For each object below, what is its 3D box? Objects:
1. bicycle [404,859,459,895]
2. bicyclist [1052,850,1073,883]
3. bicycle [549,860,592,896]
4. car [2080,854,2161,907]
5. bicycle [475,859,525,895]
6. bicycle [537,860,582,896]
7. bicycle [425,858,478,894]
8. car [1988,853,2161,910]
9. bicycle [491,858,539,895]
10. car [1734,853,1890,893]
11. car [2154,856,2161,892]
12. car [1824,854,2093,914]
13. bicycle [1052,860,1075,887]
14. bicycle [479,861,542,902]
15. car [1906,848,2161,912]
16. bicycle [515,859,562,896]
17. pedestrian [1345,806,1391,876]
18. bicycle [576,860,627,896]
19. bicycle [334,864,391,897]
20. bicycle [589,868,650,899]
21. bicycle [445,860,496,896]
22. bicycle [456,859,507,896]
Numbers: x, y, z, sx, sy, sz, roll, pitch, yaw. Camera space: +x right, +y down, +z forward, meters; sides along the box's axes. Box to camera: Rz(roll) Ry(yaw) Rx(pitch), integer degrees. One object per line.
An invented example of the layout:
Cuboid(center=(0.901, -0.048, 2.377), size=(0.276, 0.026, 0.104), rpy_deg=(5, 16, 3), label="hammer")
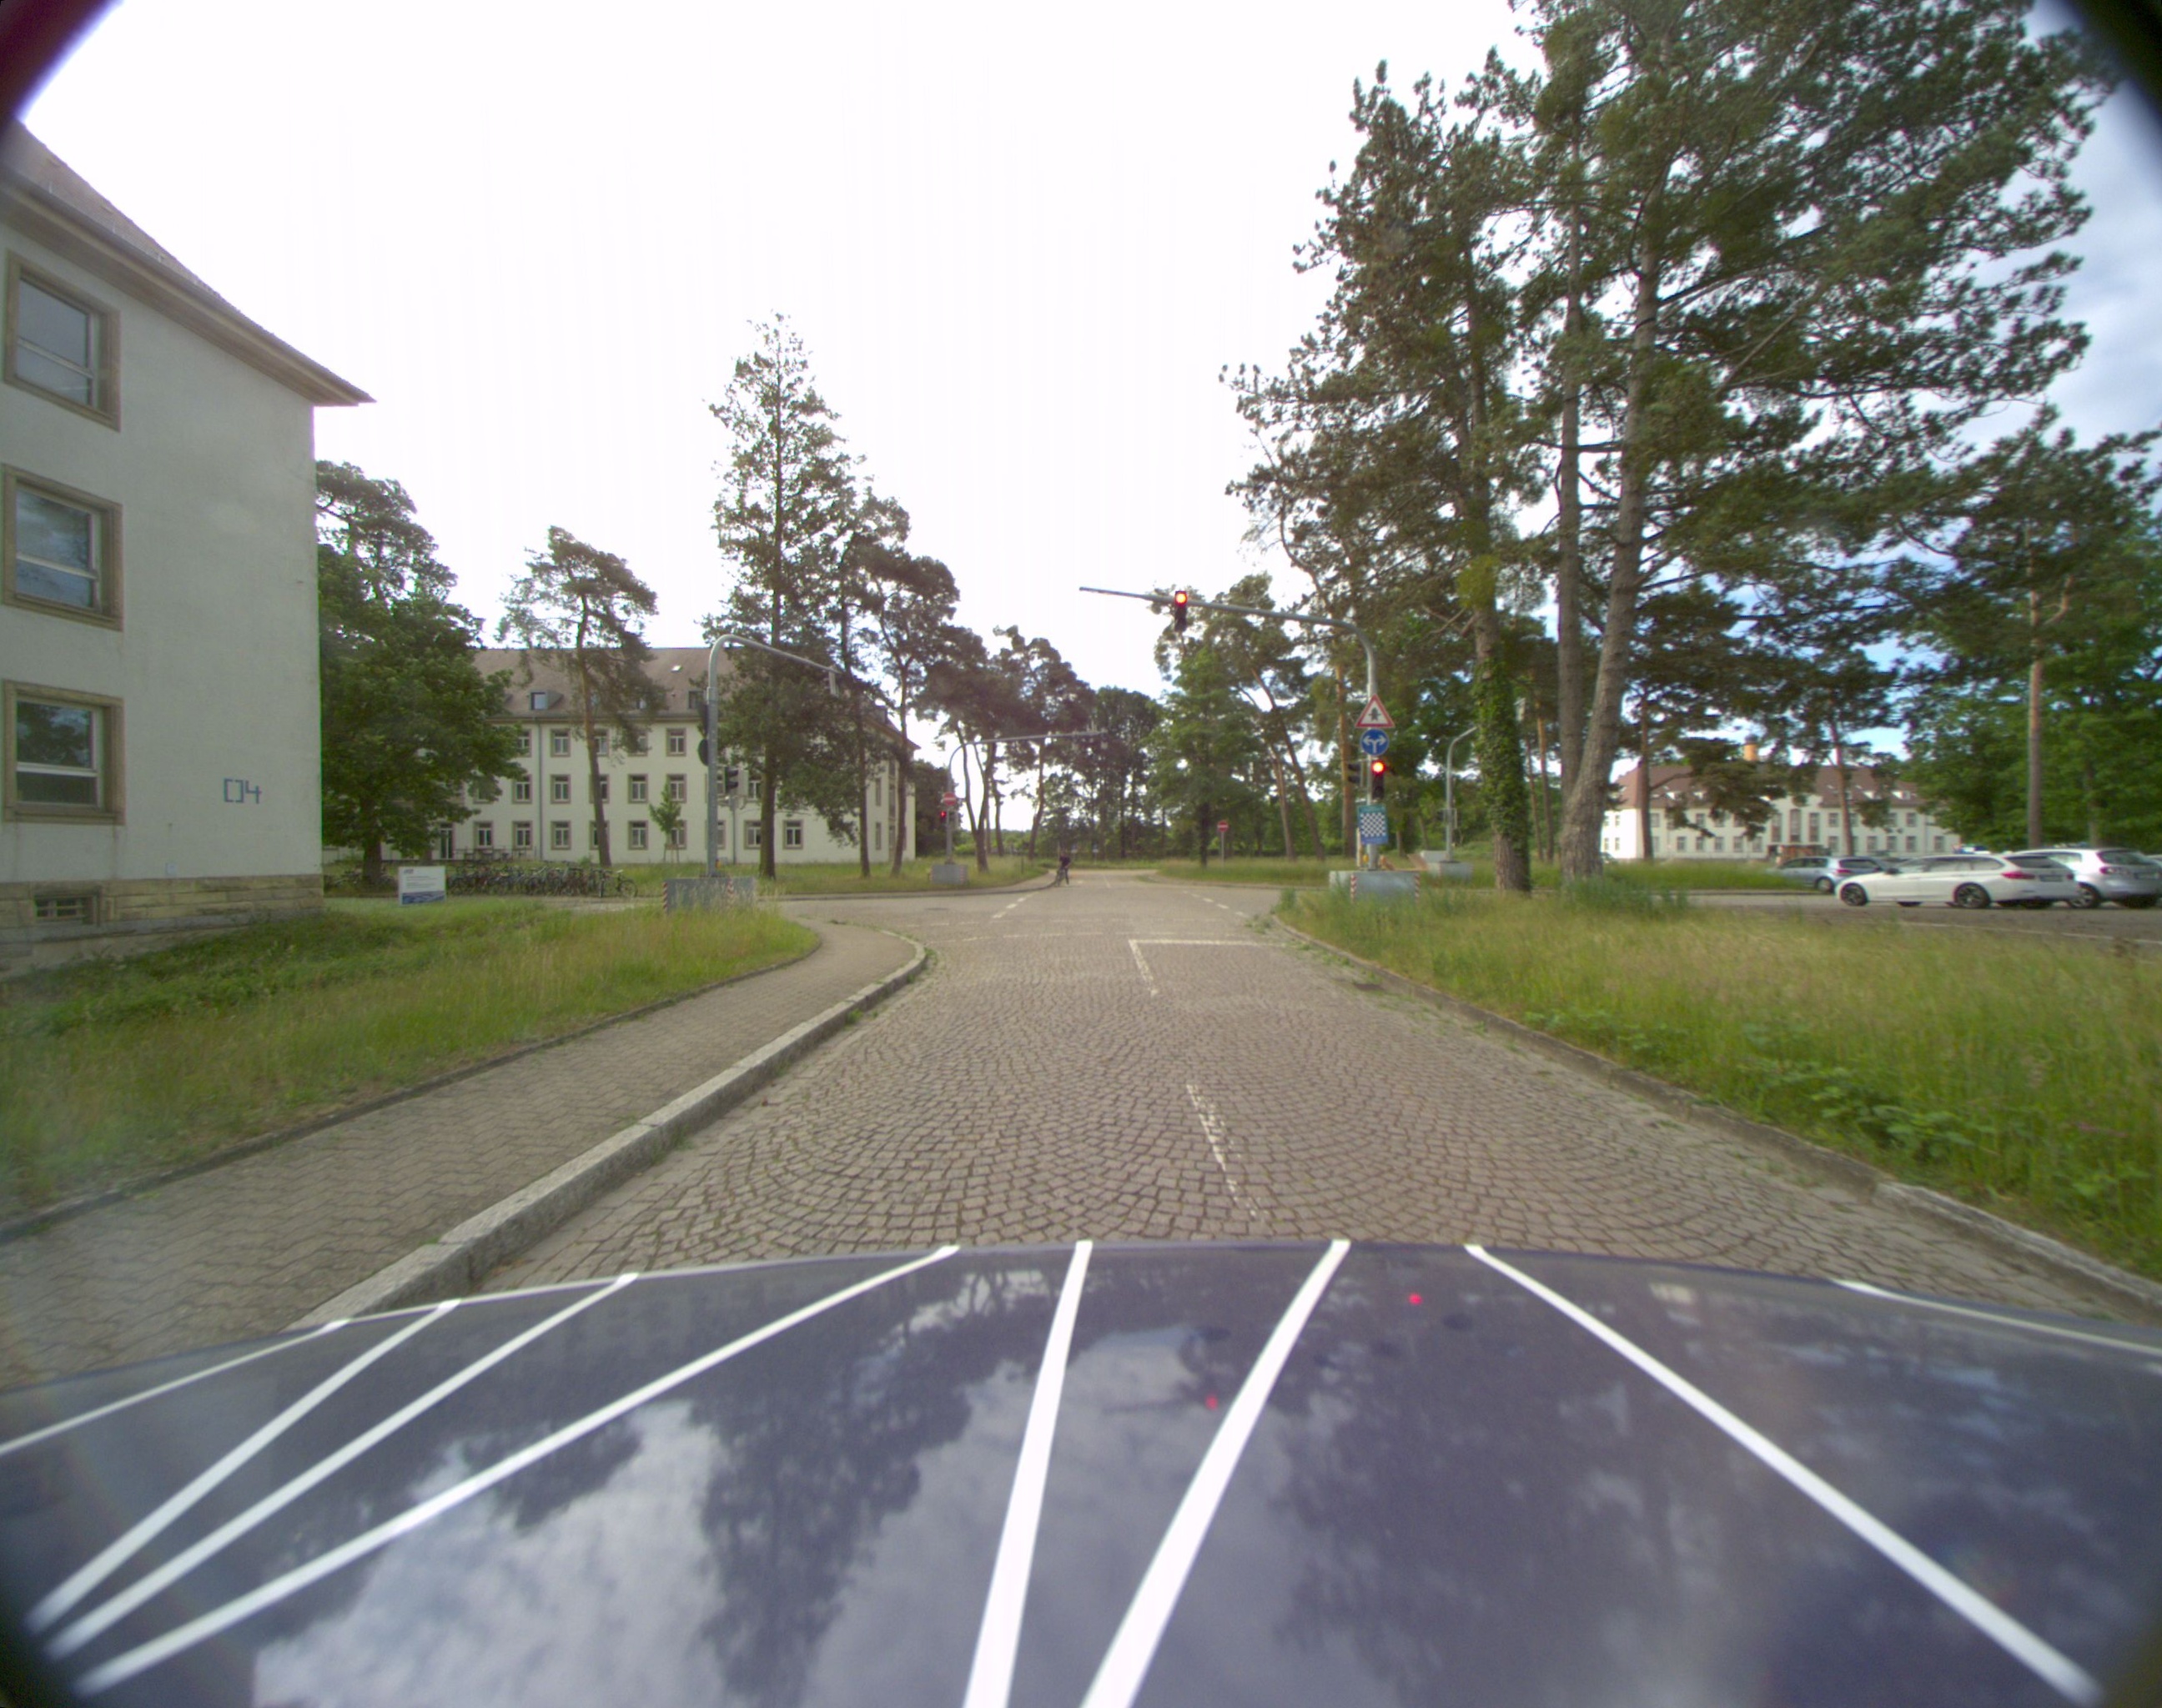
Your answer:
Cuboid(center=(-24.679, 0.846, 28.913), size=(0.572, 1.324, 1.837), rpy_deg=(0, 1, -4), label="bicycle")
Cuboid(center=(-0.920, 0.606, 38.327), size=(0.963, 1.626, 0.918), rpy_deg=(0, 1, 3), label="bicyclist")
Cuboid(center=(-19.422, 0.885, 28.956), size=(0.482, 1.324, 1.837), rpy_deg=(0, 1, -4), label="bicycle")
Cuboid(center=(31.397, 0.741, 21.175), size=(1.736, 1.512, 4.115), rpy_deg=(0, -1, 1), label="car")
Cuboid(center=(-22.041, 0.853, 28.850), size=(0.572, 1.324, 1.837), rpy_deg=(0, 1, -4), label="bicycle")
Cuboid(center=(-19.855, 0.897, 28.972), size=(0.572, 1.324, 1.837), rpy_deg=(0, 1, -4), label="bicycle")
Cuboid(center=(-23.968, 0.820, 28.975), size=(0.572, 1.324, 1.837), rpy_deg=(0, 1, -4), label="bicycle")
Cuboid(center=(28.645, 0.738, 20.938), size=(1.839, 1.460, 4.586), rpy_deg=(0, -1, 1), label="car")
Cuboid(center=(-21.476, 0.837, 28.871), size=(0.572, 1.324, 1.837), rpy_deg=(0, 1, -4), label="bicycle")
Cuboid(center=(30.543, 0.805, 31.968), size=(1.841, 1.538, 4.583), rpy_deg=(0, -1, -7), label="car")
Cuboid(center=(49.043, 0.839, 31.769), size=(1.840, 1.564, 4.585), rpy_deg=(0, -1, -2), label="car")
Cuboid(center=(23.380, 0.779, 20.603), size=(1.840, 1.441, 4.655), rpy_deg=(0, -1, -2), label="car")
Cuboid(center=(-0.854, 0.962, 38.347), size=(0.963, 1.268, 2.164), rpy_deg=(0, 0, 4), label="bicycle")
Cuboid(center=(-19.367, 0.922, 25.845), size=(0.572, 1.324, 1.839), rpy_deg=(0, 1, 9), label="bicycle")
Cuboid(center=(25.993, 0.687, 20.755), size=(1.840, 1.568, 4.585), rpy_deg=(0, -1, -2), label="car")
Cuboid(center=(-20.621, 0.879, 28.917), size=(0.572, 1.324, 1.837), rpy_deg=(0, 1, -4), label="bicycle")
Cuboid(center=(6.366, -0.286, 16.905), size=(0.882, 1.509, 0.822), rpy_deg=(0, 1, 15), label="pedestrian")
Cuboid(center=(-18.296, 0.897, 29.047), size=(0.572, 1.324, 1.839), rpy_deg=(0, 1, 9), label="bicycle")
Cuboid(center=(-27.806, 1.000, 29.454), size=(0.572, 1.180, 1.837), rpy_deg=(0, 0, -5), label="bicycle")
Cuboid(center=(-16.619, 1.048, 27.363), size=(1.836, 1.079, 0.573), rpy_deg=(0, 3, 4), label="bicycle")
Cuboid(center=(-23.370, 0.888, 29.119), size=(0.572, 1.324, 1.837), rpy_deg=(0, 1, -4), label="bicycle")
Cuboid(center=(-22.763, 0.873, 28.910), size=(0.572, 1.324, 1.837), rpy_deg=(0, 1, -4), label="bicycle")
